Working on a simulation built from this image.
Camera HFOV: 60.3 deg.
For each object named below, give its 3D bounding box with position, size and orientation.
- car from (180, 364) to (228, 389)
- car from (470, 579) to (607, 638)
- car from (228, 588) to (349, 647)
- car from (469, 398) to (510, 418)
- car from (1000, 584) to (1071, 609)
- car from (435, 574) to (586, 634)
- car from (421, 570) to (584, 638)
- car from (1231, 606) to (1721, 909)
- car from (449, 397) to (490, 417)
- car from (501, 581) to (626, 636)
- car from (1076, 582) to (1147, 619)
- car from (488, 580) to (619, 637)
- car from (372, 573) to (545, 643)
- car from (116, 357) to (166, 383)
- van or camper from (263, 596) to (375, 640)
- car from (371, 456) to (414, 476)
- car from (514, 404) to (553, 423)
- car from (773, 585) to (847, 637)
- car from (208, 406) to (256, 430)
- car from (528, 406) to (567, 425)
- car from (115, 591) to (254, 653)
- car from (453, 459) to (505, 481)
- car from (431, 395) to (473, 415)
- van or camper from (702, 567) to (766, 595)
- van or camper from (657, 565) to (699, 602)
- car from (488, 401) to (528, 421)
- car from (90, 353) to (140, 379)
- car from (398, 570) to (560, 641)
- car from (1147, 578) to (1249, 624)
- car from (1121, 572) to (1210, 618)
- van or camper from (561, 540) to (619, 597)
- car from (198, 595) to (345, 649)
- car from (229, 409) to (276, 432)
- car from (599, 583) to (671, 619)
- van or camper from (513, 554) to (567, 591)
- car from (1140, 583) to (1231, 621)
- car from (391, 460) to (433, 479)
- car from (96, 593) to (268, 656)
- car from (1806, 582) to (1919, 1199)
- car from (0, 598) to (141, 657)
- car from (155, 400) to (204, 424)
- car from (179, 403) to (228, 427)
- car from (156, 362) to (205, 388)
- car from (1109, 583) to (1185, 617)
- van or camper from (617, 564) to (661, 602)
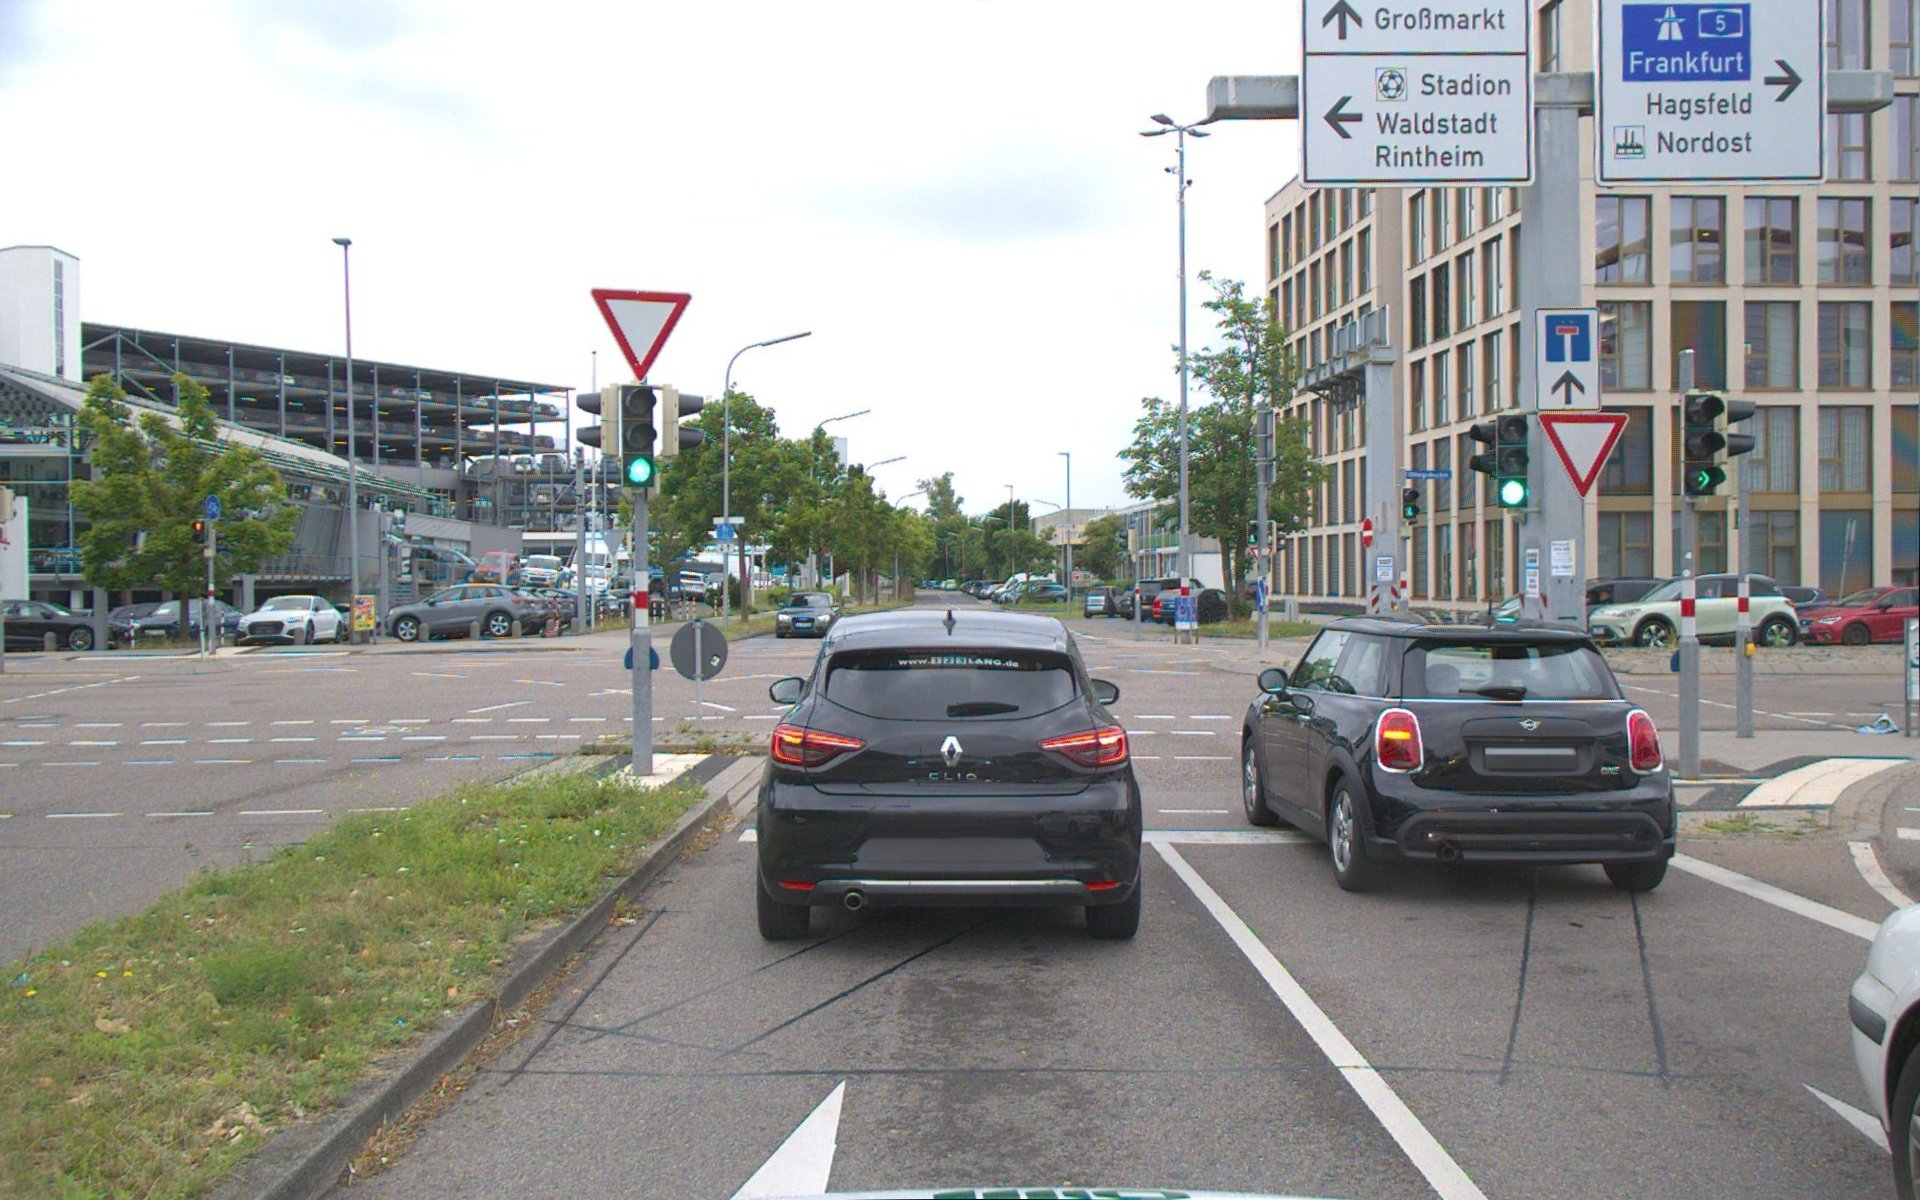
[{"bbox_3d":[-66.085,-19.535,144.576,3.914,1.696,1.995,1,0,31],"label":"car"},{"bbox_3d":[-16.290,0.335,64.062,4.798,2.049,1.998,-2,0,-6],"label":"car"},{"bbox_3d":[-18.574,0.525,45.918,1.832,1.512,4.226,-1,-1,-4],"label":"car"},{"bbox_3d":[-49.370,-20.098,173.629,3.914,1.696,1.995,1,0,31],"label":"car"},{"bbox_3d":[5.594,-0.251,123.407,5.070,1.750,2.142,1,-1,-3],"label":"car"},{"bbox_3d":[-15.907,0.144,58.760,4.853,1.909,2.051,-2,-1,-7],"label":"car"},{"bbox_3d":[-15.457,0.142,56.138,4.925,2.049,2.263,-2,0,-5],"label":"car"},{"bbox_3d":[2.798,0.779,9.826,1.749,1.440,3.642,1,-1,0],"label":"car"},{"bbox_3d":[-50.849,-19.977,171.400,3.914,1.696,1.995,1,0,31],"label":"car"},{"bbox_3d":[-16.641,0.351,69.601,4.798,2.049,1.998,-2,0,-6],"label":"car"},{"bbox_3d":[7.701,0.037,83.884,3.405,1.762,1.739,1,-1,-43],"label":"car"},{"bbox_3d":[-16.310,0.325,66.571,4.798,2.049,1.998,-2,0,-6],"label":"car"},{"bbox_3d":[-15.256,0.241,50.563,4.680,1.895,1.998,-2,0,-6],"label":"car"},{"bbox_3d":[-69.240,-19.411,139.871,3.914,1.696,1.995,1,0,31],"label":"car"},{"bbox_3d":[-26.496,0.757,68.445,3.909,1.741,1.845,1,-1,-5],"label":"van or camper"},{"bbox_3d":[-55.664,-13.094,162.278,3.914,1.696,1.995,1,0,31],"label":"car"},{"bbox_3d":[-46.221,-20.165,179.138,3.914,1.696,1.995,1,0,31],"label":"car"},{"bbox_3d":[-4.762,0.308,53.020,1.938,1.578,4.614,0,1,0],"label":"car"},{"bbox_3d":[-64.469,-16.108,146.497,3.914,1.696,1.995,1,0,31],"label":"car"},{"bbox_3d":[-45.153,-20.180,181.098,3.914,1.696,1.995,1,0,31],"label":"car"},{"bbox_3d":[-21.325,0.655,45.687,2.023,1.512,4.510,-2,-2,-6],"label":"car"},{"bbox_3d":[-50.573,-13.690,174.032,5.212,1.979,2.208,1,0,28],"label":"car"},{"bbox_3d":[-51.998,-19.930,169.351,3.914,1.696,1.995,1,0,31],"label":"car"},{"bbox_3d":[-20.388,-1.705,149.477,5.486,2.413,1.999,1,-1,-2],"label":"van or camper"},{"bbox_3d":[-16.094,-0.926,94.454,1.954,2.049,3.996,1,-1,-4],"label":"van or camper"},{"bbox_3d":[-48.014,-20.053,175.758,3.914,1.696,1.995,1,0,31],"label":"car"},{"bbox_3d":[-70.318,-19.448,137.679,3.914,1.696,1.995,1,0,31],"label":"car"},{"bbox_3d":[-15.394,0.180,53.131,4.610,2.049,1.998,-2,0,-5],"label":"car"},{"bbox_3d":[9.593,0.029,66.609,4.095,1.799,1.861,0,-1,-41],"label":"car"},{"bbox_3d":[9.241,-0.196,74.193,1.963,2.000,4.221,-1,-1,41],"label":"car"},{"bbox_3d":[-21.033,-1.725,94.205,2.486,3.079,4.839,1,-1,-4],"label":"van or camper"},{"bbox_3d":[-26.202,0.819,63.069,4.706,1.973,1.999,-1,0,-4],"label":"car"},{"bbox_3d":[-63.491,-16.079,148.501,3.914,1.696,1.995,1,0,31],"label":"car"},{"bbox_3d":[-19.323,0.049,98.445,3.908,2.049,1.999,1,-1,-4],"label":"car"},{"bbox_3d":[-20.993,-1.358,82.843,1.954,1.680,3.996,1,-1,-4],"label":"van or camper"},{"bbox_3d":[9.697,0.076,70.998,1.857,1.578,4.105,-1,-1,44],"label":"car"},{"bbox_3d":[-54.593,-12.979,164.727,3.914,1.696,1.995,1,0,31],"label":"car"},{"bbox_3d":[-25.775,0.779,54.902,4.706,1.973,1.999,-1,0,-4],"label":"car"},{"bbox_3d":[3.083,0.714,2.224,1.795,1.504,4.004,1,-1,-1],"label":"car"},{"bbox_3d":[-25.302,0.783,45.439,4.646,1.512,1.891,-1,-3,-4],"label":"car"},{"bbox_3d":[-67.115,-16.188,142.272,3.914,1.696,1.995,1,0,31],"label":"car"},{"bbox_3d":[-66.015,-16.152,144.322,3.914,1.696,1.995,1,0,31],"label":"car"},{"bbox_3d":[-67.096,-19.353,142.380,3.914,1.696,1.995,1,0,31],"label":"car"},{"bbox_3d":[8.810,-0.010,77.589,1.667,1.538,3.794,-1,-1,42],"label":"car"},{"bbox_3d":[-18.247,-0.964,94.231,1.954,2.049,3.996,1,-1,-4],"label":"van or camper"}]
